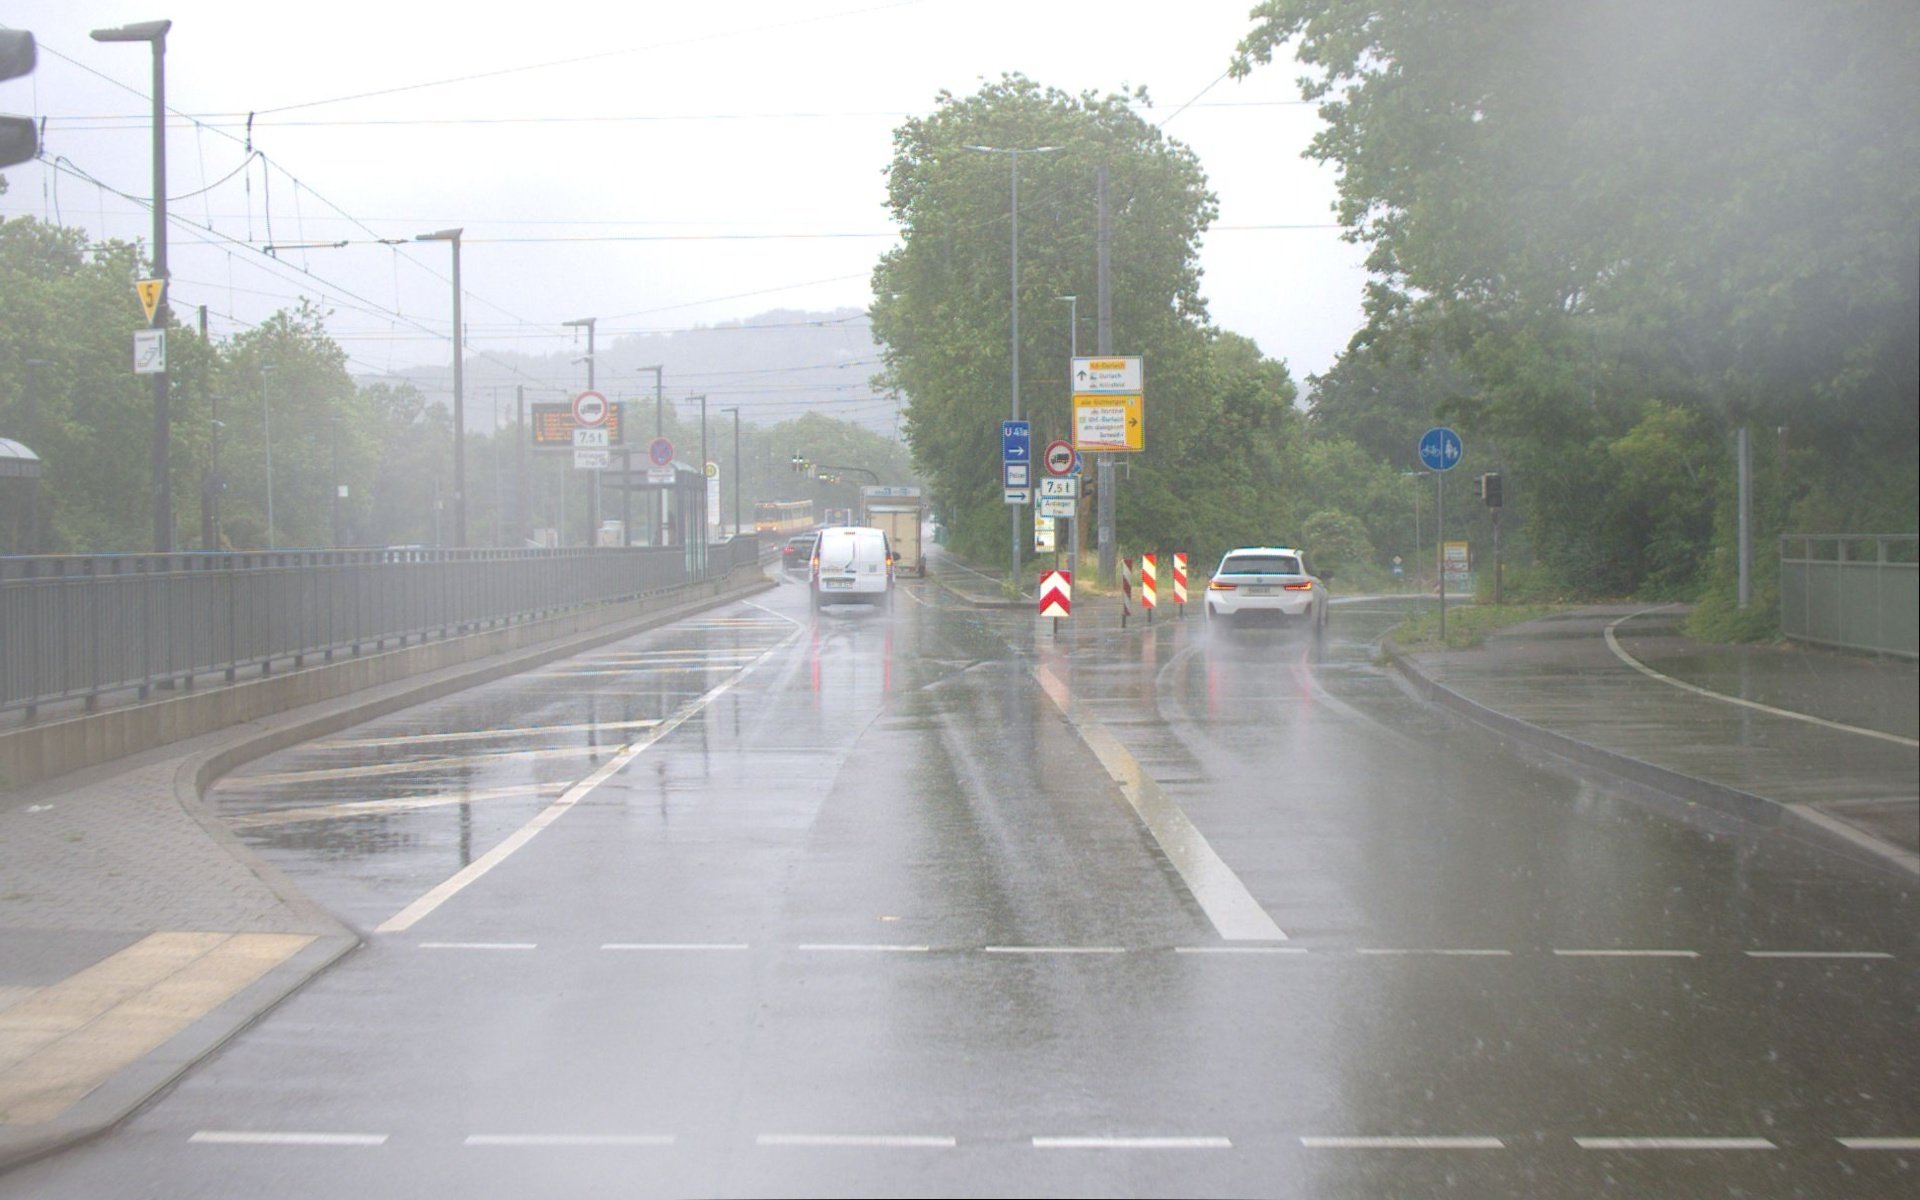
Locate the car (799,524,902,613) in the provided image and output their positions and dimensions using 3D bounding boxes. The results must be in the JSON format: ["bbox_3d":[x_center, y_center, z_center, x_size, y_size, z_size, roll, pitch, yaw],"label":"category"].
[{"bbox_3d":[-2.346,-0.689,72.736,1.993,1.842,4.001,0,1,-5],"label":"car"}]

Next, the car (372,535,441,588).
[{"bbox_3d":[-21.081,-1.467,131.072,1.993,2.007,4.000,0,1,0],"label":"car"}]

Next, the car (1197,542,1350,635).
[{"bbox_3d":[5.057,-0.213,55.062,1.889,1.426,3.998,0,1,13],"label":"car"}]

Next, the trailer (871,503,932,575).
[{"bbox_3d":[-2.238,-2.344,133.152,2.166,2.748,5.676,0,1,1],"label":"trailer"}]

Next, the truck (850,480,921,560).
[{"bbox_3d":[-3.593,-3.743,164.109,2.775,3.691,9.854,0,1,-5],"label":"truck"}]
